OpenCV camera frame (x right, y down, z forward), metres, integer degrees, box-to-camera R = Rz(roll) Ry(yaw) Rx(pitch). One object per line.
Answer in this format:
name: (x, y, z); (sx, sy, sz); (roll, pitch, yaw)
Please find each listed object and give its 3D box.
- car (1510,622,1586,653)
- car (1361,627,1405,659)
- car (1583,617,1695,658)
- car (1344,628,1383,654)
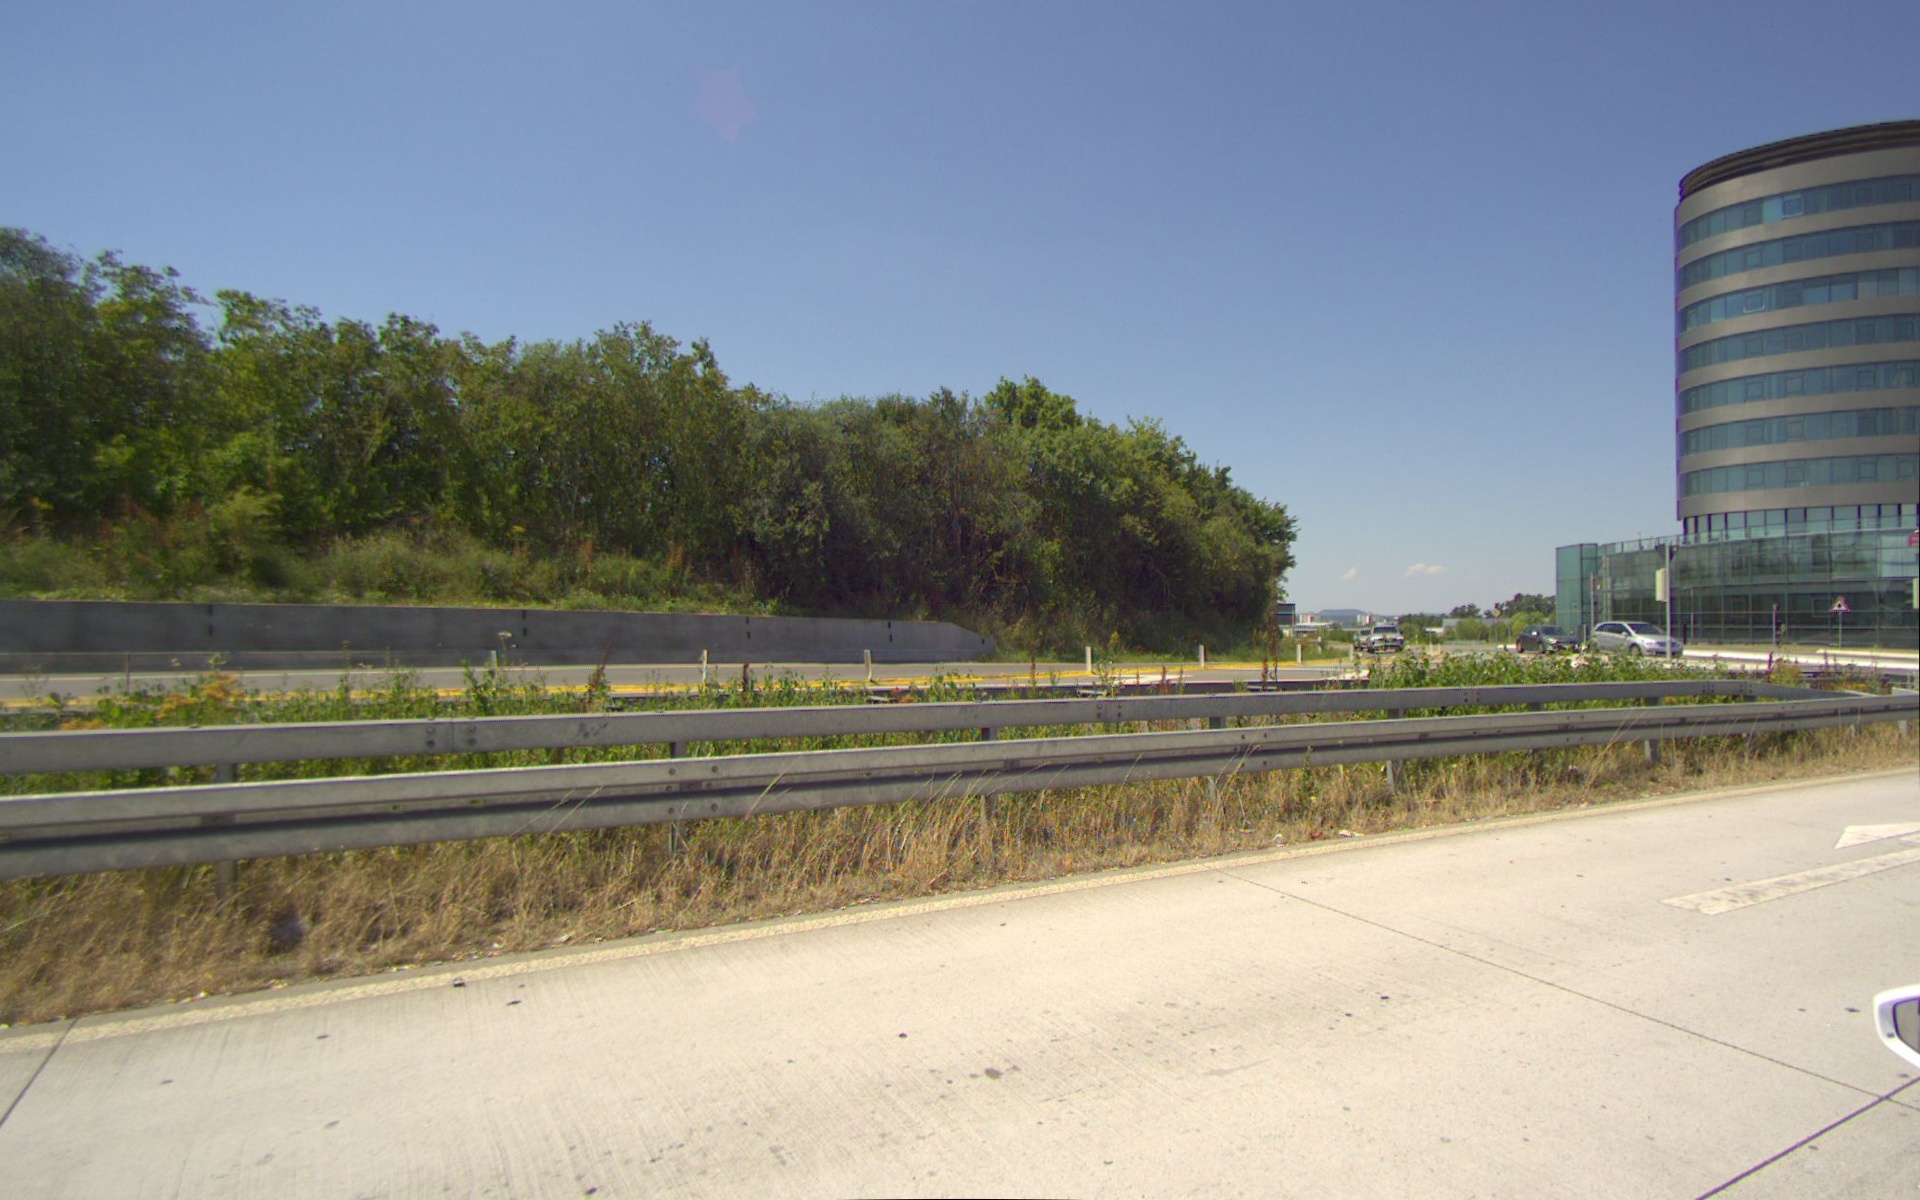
car: (29.763, 1.924, 50.984); (1.663, 1.475, 4.333); (2, -2, 5)
car: (26.158, 2.649, 62.226); (1.960, 1.796, 4.859); (1, -1, 17)
car: (29.031, 1.624, 43.116); (1.743, 1.616, 4.328); (2, -2, -3)
car: (29.939, 3.028, 74.643); (1.959, 1.715, 4.660); (1, -1, 14)
